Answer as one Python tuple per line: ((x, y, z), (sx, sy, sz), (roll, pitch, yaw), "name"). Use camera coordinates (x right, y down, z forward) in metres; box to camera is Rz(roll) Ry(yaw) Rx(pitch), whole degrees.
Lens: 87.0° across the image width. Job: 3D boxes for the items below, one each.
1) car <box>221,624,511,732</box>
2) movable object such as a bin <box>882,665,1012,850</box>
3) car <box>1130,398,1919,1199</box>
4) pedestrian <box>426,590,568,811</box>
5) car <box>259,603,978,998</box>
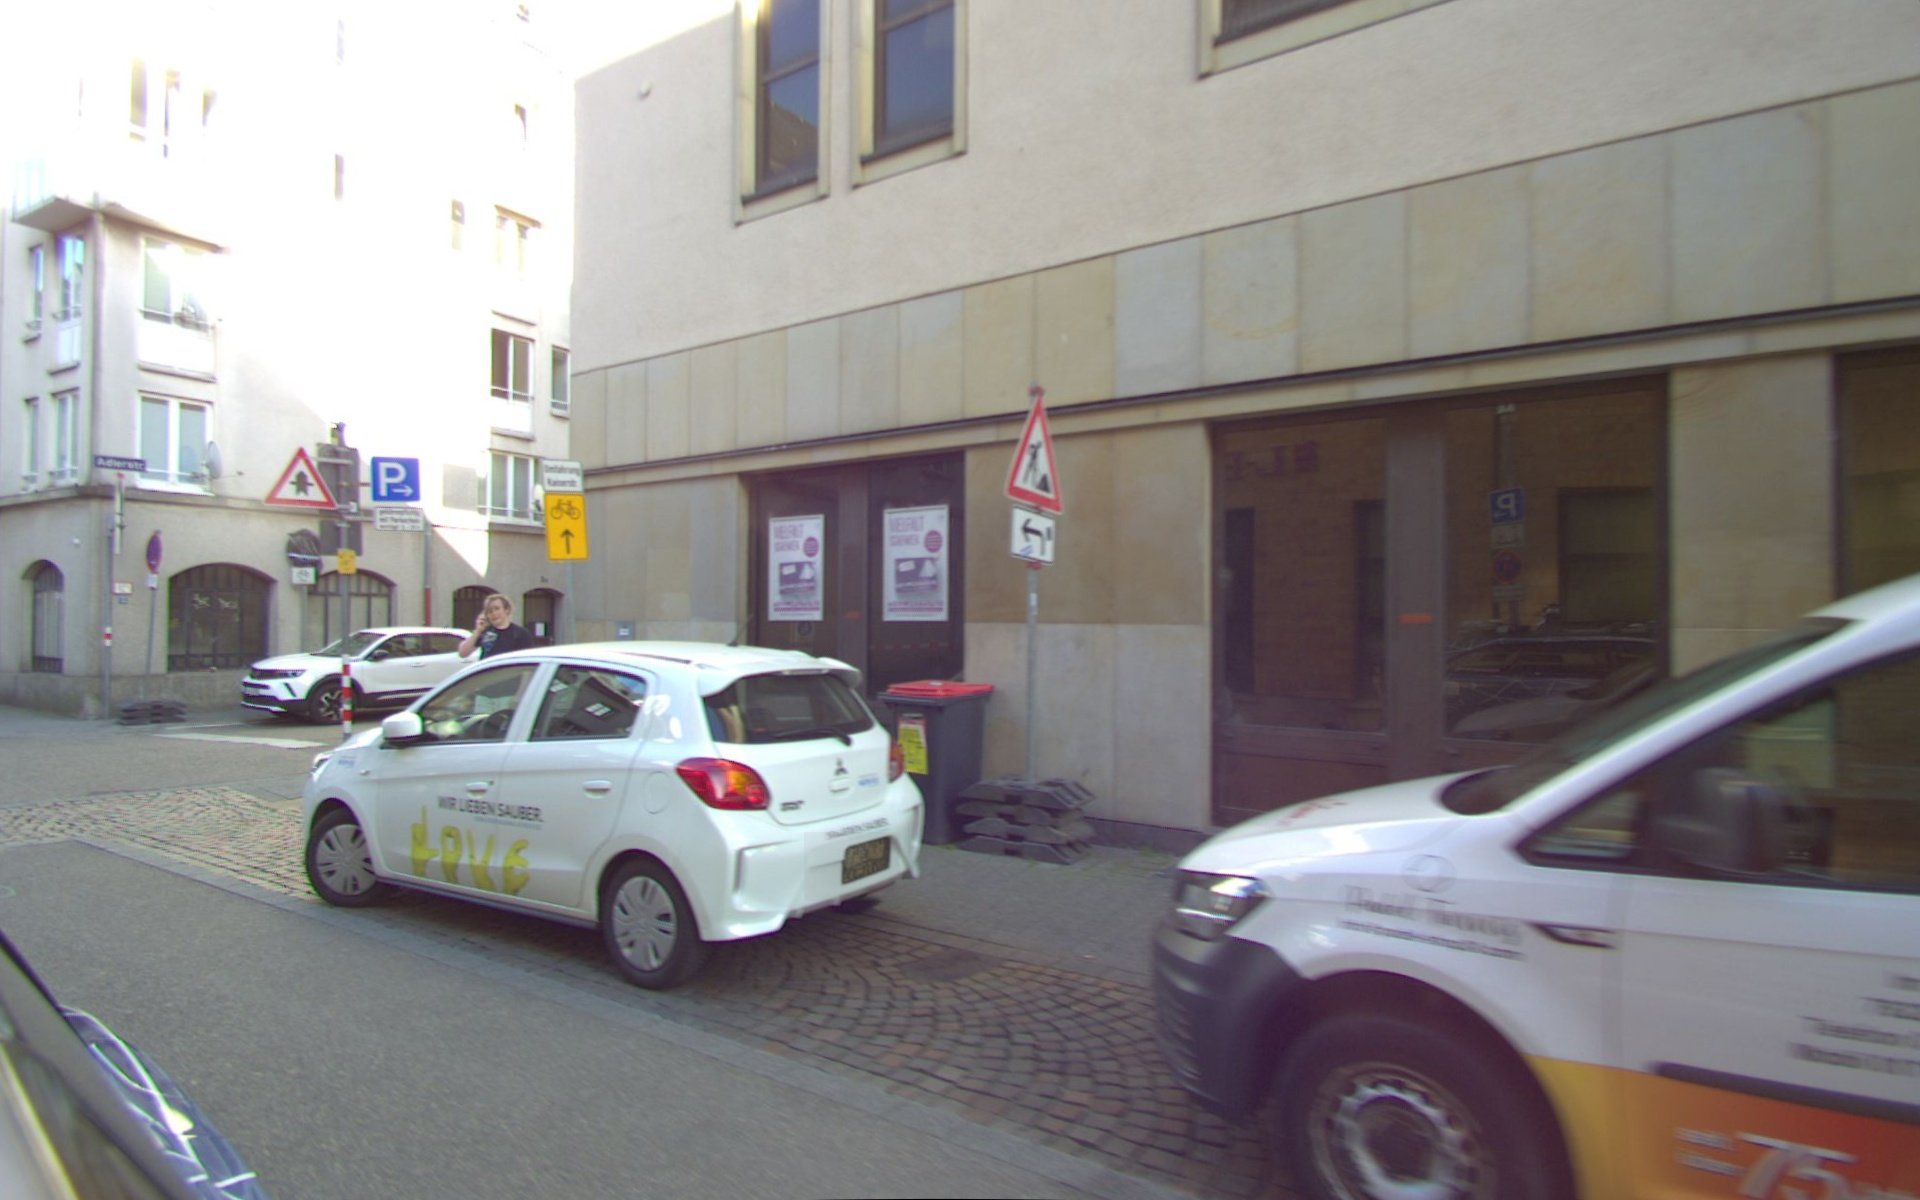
((-10.077, 1.242, 17.442), (1.739, 1.605, 3.922), (0, -2, 34), "car")
((-0.080, 1.038, 6.929), (0.589, 1.109, 0.731), (0, 1, 32), "movable object such as a bin")
((2.910, 0.597, 2.101), (4.724, 1.872, 1.882), (-1, -3, 36), "car")
((-4.174, 0.866, 9.148), (0.714, 1.869, 0.852), (0, -3, 34), "pedestrian")
((-1.966, 0.827, 5.608), (3.786, 1.504, 1.724), (-1, -3, 31), "car")
